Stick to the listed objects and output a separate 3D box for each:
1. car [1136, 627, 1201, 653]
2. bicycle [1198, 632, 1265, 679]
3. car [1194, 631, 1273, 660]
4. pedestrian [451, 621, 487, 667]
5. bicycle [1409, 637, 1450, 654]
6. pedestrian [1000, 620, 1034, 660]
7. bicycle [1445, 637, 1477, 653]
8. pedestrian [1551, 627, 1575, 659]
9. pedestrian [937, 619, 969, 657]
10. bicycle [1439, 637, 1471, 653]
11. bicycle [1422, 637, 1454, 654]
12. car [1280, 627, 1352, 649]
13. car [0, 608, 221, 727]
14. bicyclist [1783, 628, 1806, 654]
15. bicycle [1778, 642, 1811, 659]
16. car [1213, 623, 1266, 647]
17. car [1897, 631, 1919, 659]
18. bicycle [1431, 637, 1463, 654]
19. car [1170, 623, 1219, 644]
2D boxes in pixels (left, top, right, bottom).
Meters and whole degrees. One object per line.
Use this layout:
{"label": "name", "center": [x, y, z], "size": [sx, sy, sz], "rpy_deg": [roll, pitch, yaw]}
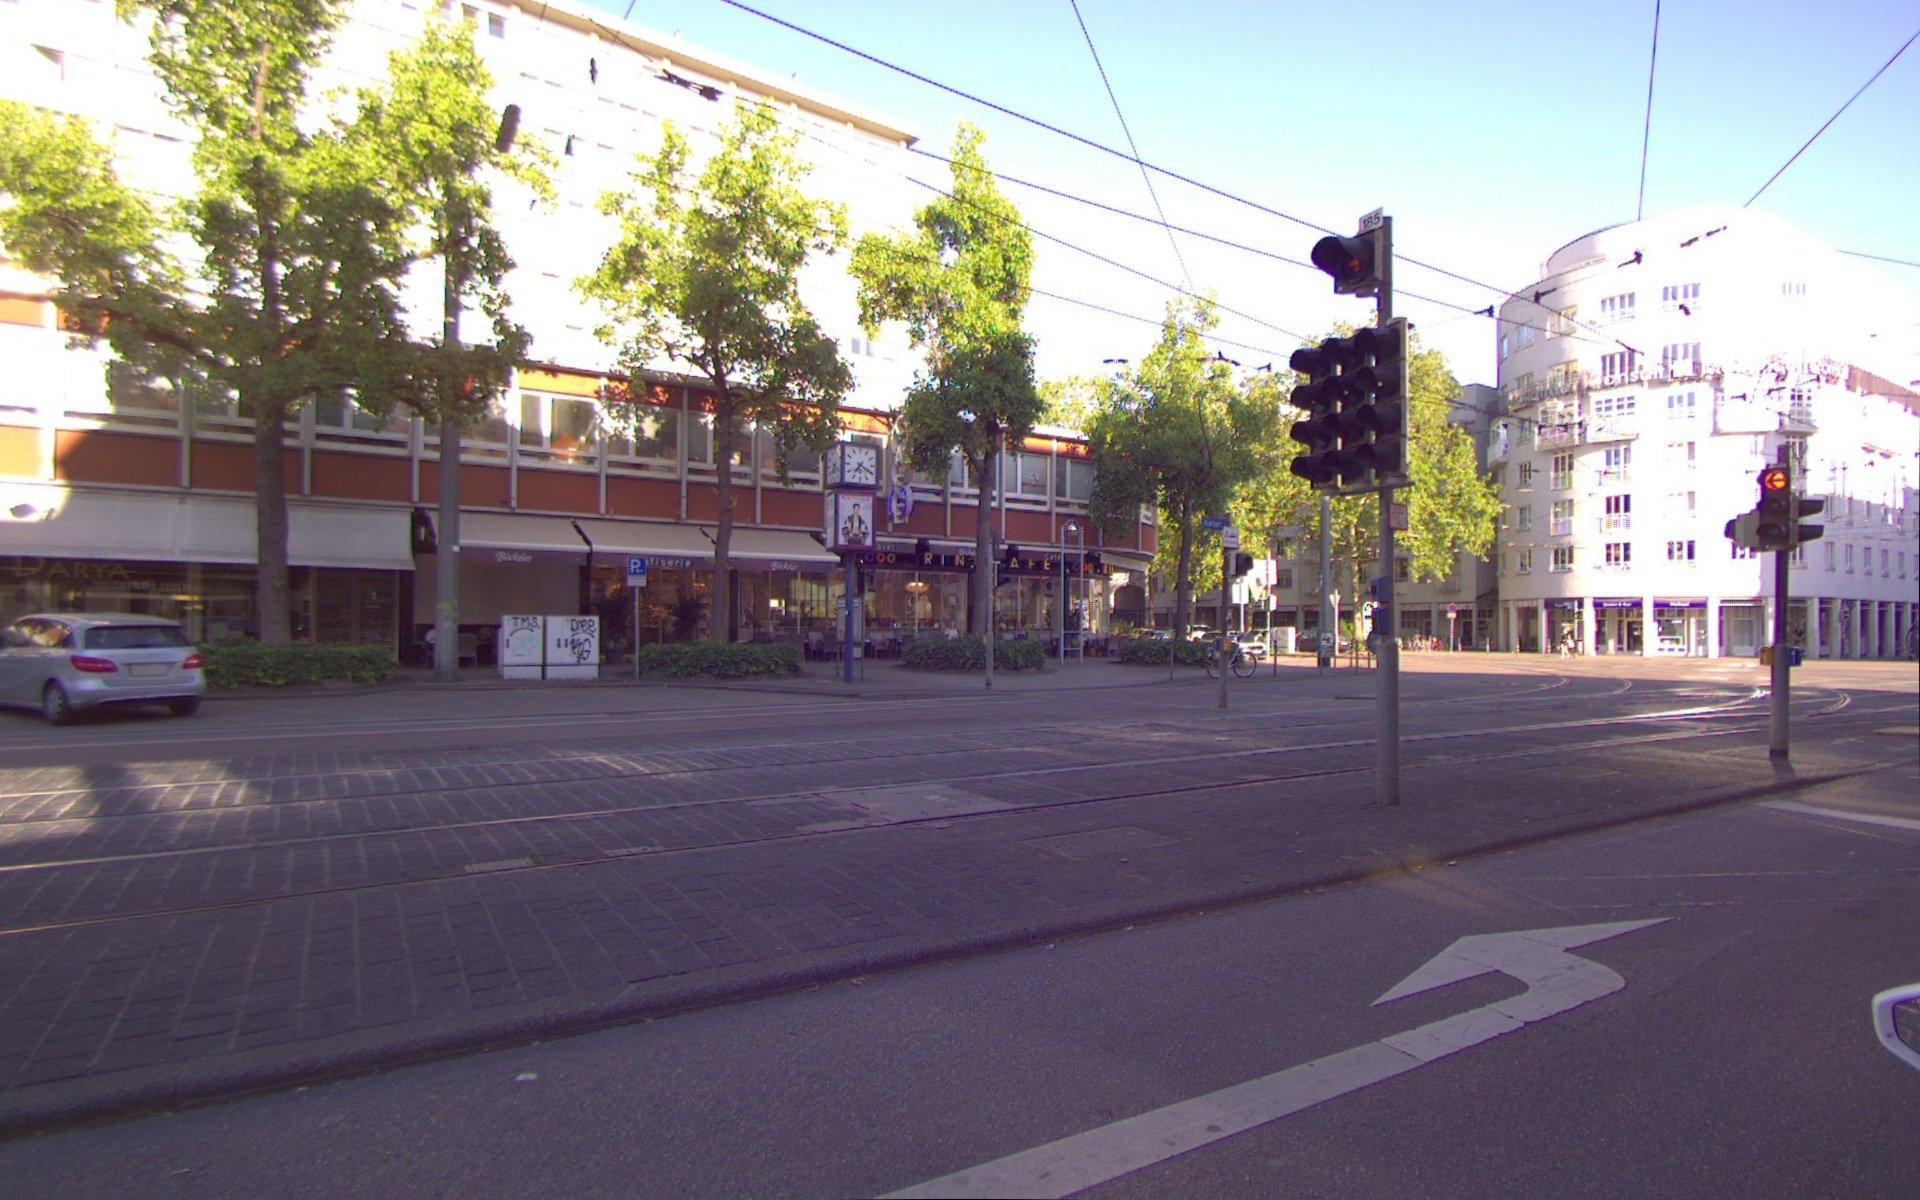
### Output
{"label": "car", "center": [12.005, 2.327, 58.030], "size": [1.860, 1.439, 4.442], "rpy_deg": [1, -2, -16]}
{"label": "bicycle", "center": [7.426, 1.507, 27.454], "size": [1.833, 1.251, 0.578], "rpy_deg": [1, 0, -28]}
{"label": "car", "center": [13.846, 2.305, 51.186], "size": [1.860, 1.439, 4.442], "rpy_deg": [1, -2, -16]}
{"label": "pedestrian", "center": [-12.820, 1.141, 26.221], "size": [0.721, 1.187, 0.771], "rpy_deg": [1, -2, -36]}
{"label": "bicycle", "center": [32.184, 3.125, 68.859], "size": [2.410, 1.122, 0.932], "rpy_deg": [-1, -2, 44]}
{"label": "pedestrian", "center": [2.077, 1.442, 36.539], "size": [0.880, 1.414, 0.929], "rpy_deg": [1, -1, -31]}
{"label": "bicycle", "center": [35.835, 3.212, 71.853], "size": [0.809, 1.122, 1.933], "rpy_deg": [1, -1, -30]}
{"label": "pedestrian", "center": [33.093, 2.373, 55.138], "size": [0.687, 1.704, 0.866], "rpy_deg": [-1, -1, -24]}
{"label": "pedestrian", "center": [-0.251, 1.317, 34.687], "size": [0.893, 1.280, 0.837], "rpy_deg": [1, -1, -17]}
{"label": "bicycle", "center": [35.156, 3.198, 71.320], "size": [0.809, 1.122, 1.933], "rpy_deg": [1, -1, -30]}
{"label": "bicycle", "center": [33.337, 3.166, 70.091], "size": [0.808, 1.122, 1.934], "rpy_deg": [1, -1, -28]}
{"label": "car", "center": [23.725, 2.507, 67.049], "size": [1.868, 1.440, 4.423], "rpy_deg": [1, -2, -28]}
{"label": "car", "center": [-13.586, 0.960, 15.576], "size": [3.925, 1.574, 1.796], "rpy_deg": [1, -1, 26]}
{"label": "bicyclist", "center": [49.508, 2.433, 59.590], "size": [0.886, 1.486, 0.836], "rpy_deg": [1, -1, -31]}
{"label": "bicycle", "center": [49.490, 2.985, 59.580], "size": [2.239, 0.939, 0.836], "rpy_deg": [1, -1, -32]}
{"label": "car", "center": [21.109, 2.656, 75.842], "size": [3.960, 1.738, 1.783], "rpy_deg": [2, -2, -35]}
{"label": "car", "center": [58.533, 2.707, 60.603], "size": [4.463, 1.641, 1.982], "rpy_deg": [1, -2, -34]}
{"label": "bicycle", "center": [34.196, 3.180, 70.560], "size": [0.808, 1.122, 1.934], "rpy_deg": [1, -1, -28]}
{"label": "car", "center": [19.505, 2.774, 83.471], "size": [3.960, 1.738, 1.783], "rpy_deg": [2, -2, -35]}
